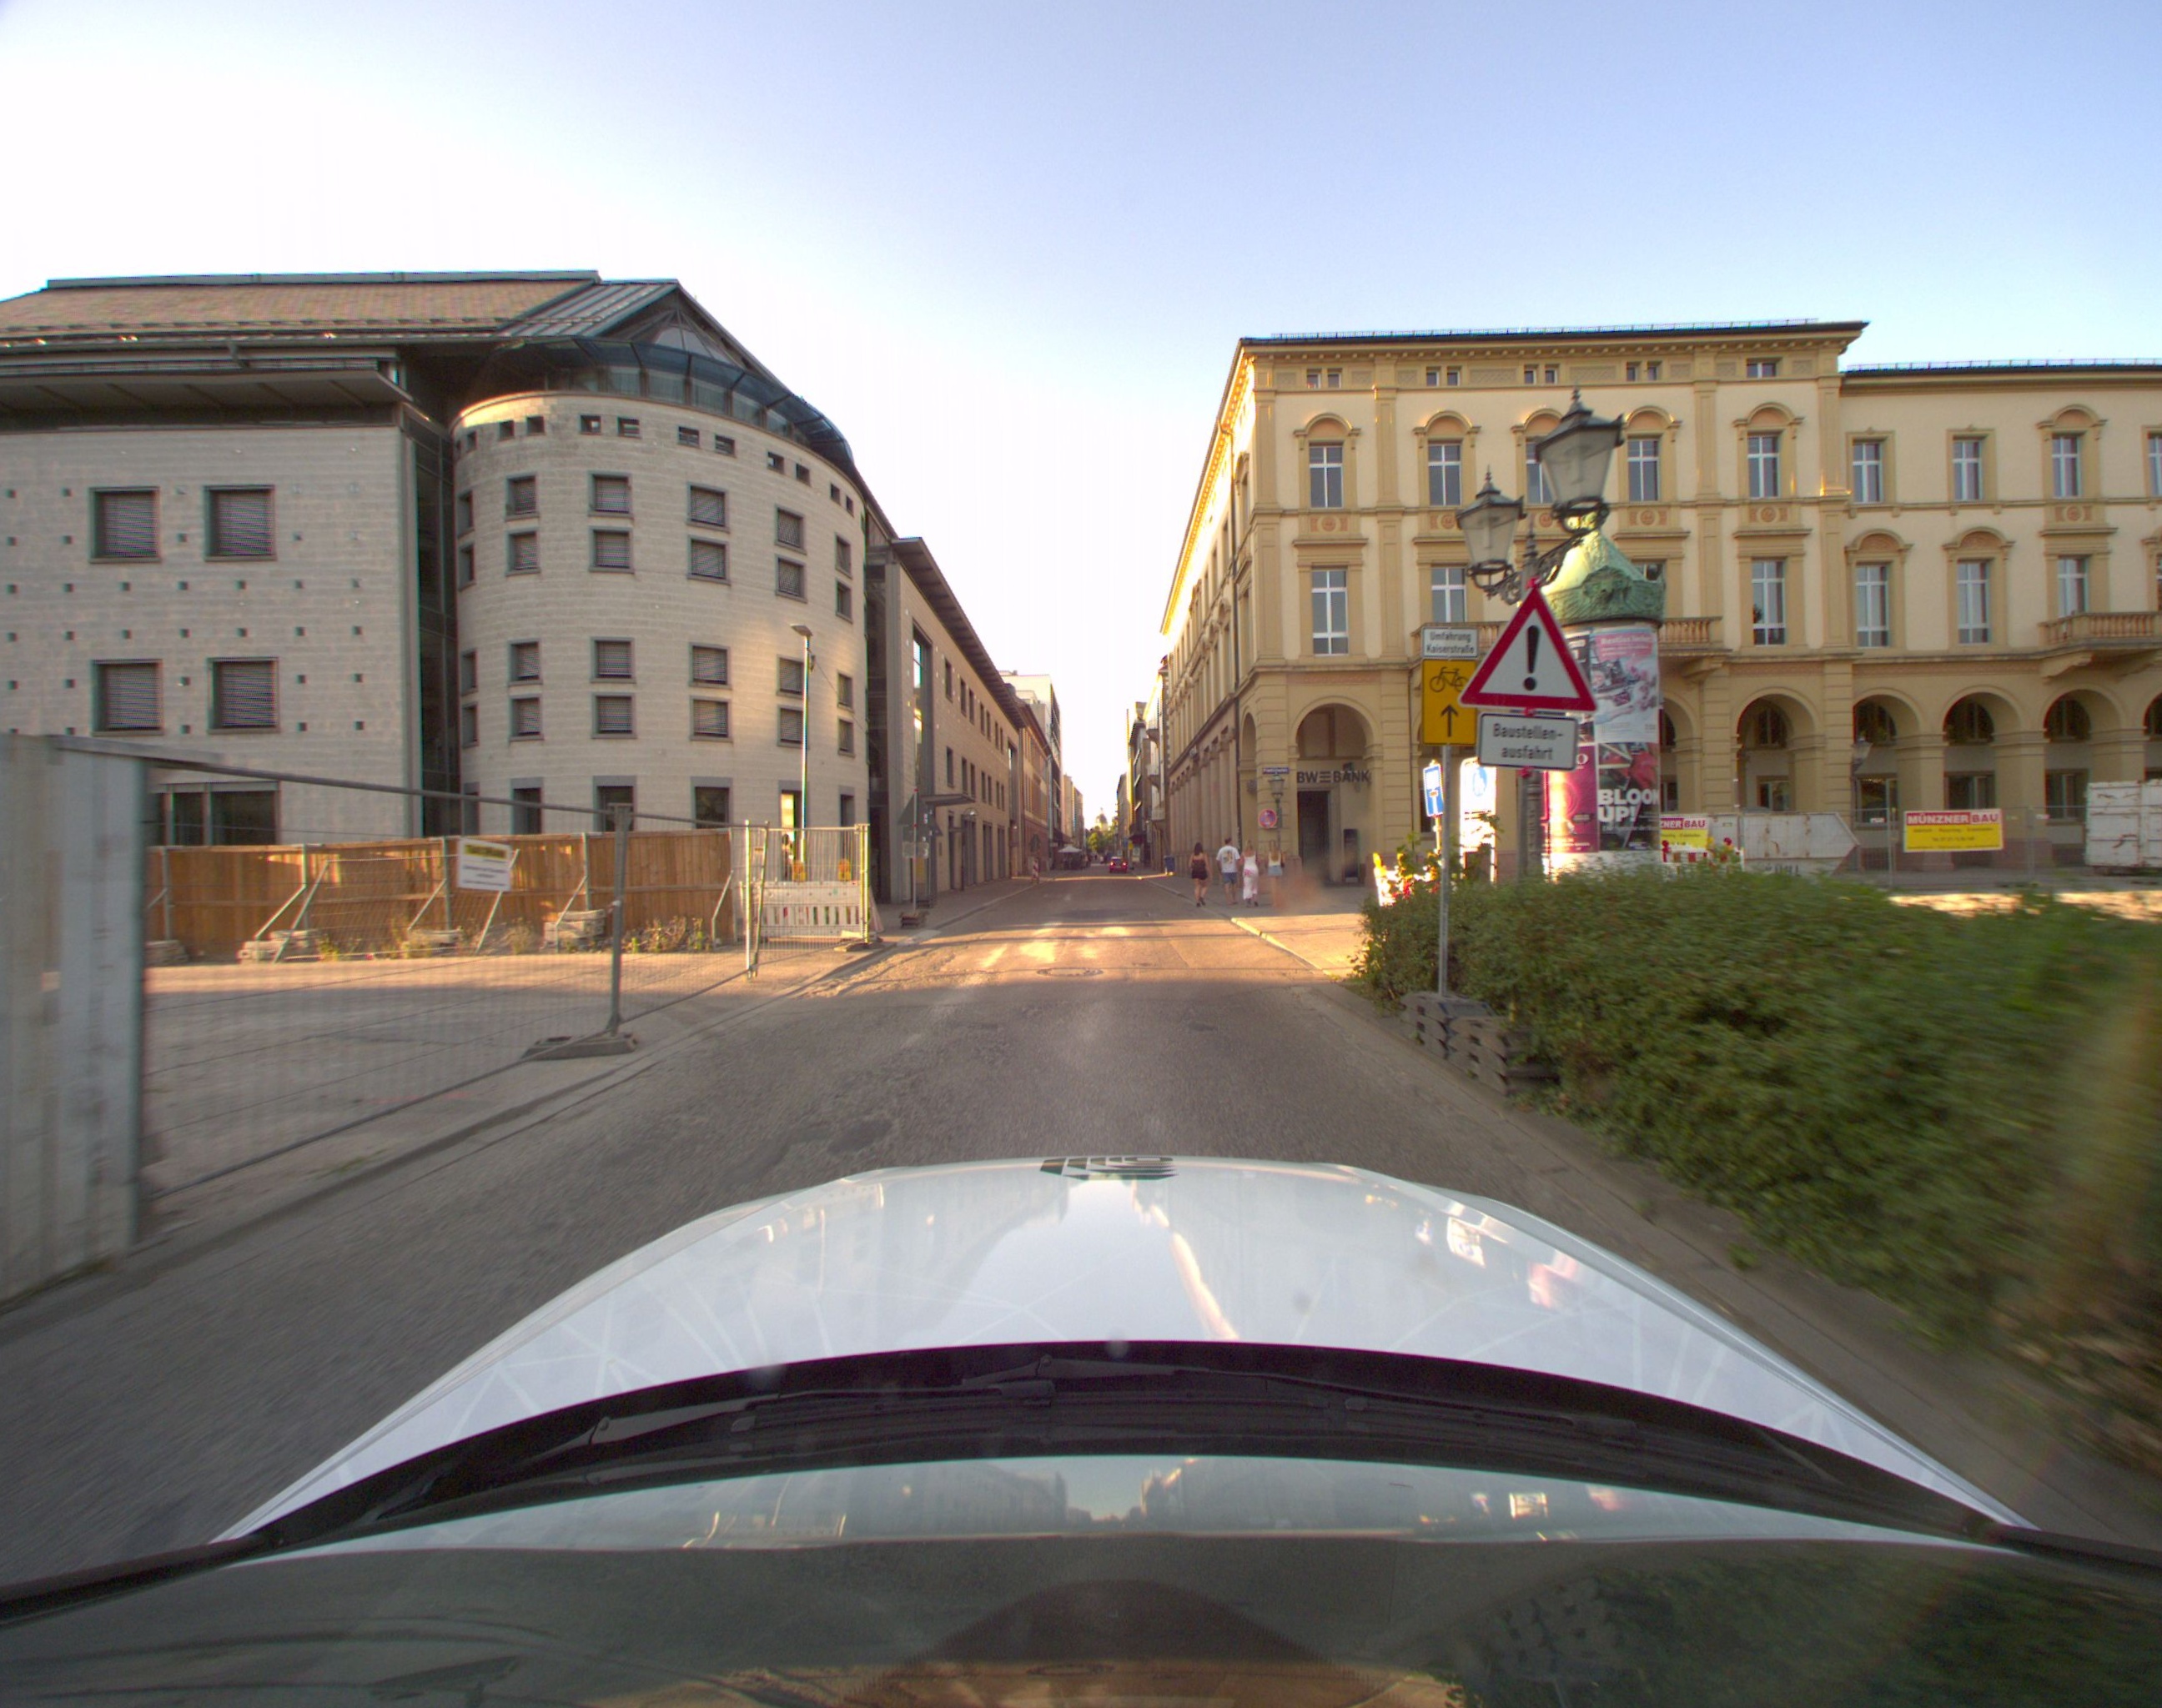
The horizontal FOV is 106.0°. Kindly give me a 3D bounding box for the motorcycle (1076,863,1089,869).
[{"bbox_3d":[0.214,1.726,116.816,1.797,0.875,0.560,-1,-1,-3],"label":"motorcycle"}]

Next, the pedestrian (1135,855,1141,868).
[{"bbox_3d":[6.623,0.870,95.428,0.654,1.488,0.493,-2,-1,3],"label":"pedestrian"}]

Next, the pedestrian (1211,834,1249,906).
[{"bbox_3d":[4.043,0.430,22.125,0.809,1.875,0.875,-2,-1,0],"label":"pedestrian"}]

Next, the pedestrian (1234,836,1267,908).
[{"bbox_3d":[4.329,0.455,20.802,0.634,1.803,0.772,-2,-1,0],"label":"pedestrian"}]

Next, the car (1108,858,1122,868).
[{"bbox_3d":[5.305,1.383,126.215,1.987,1.611,3.999,-1,0,0],"label":"car"}]

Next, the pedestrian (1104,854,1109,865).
[{"bbox_3d":[4.153,0.919,133.272,0.862,1.713,0.852,-1,-1,1],"label":"pedestrian"}]

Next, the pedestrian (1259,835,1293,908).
[{"bbox_3d":[4.980,0.442,20.828,0.634,1.803,0.772,-2,-1,0],"label":"pedestrian"}]

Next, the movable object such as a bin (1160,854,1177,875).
[{"bbox_3d":[5.983,0.716,55.953,0.987,1.392,1.240,-2,0,0],"label":"movable object such as a bin"}]

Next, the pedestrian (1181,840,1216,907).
[{"bbox_3d":[3.138,0.516,21.800,0.773,1.746,0.875,-2,-1,0],"label":"pedestrian"}]

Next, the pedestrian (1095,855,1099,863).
[{"bbox_3d":[3.338,1.113,174.658,0.801,1.672,0.889,-1,-1,3],"label":"pedestrian"}]

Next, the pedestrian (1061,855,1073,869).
[{"bbox_3d":[-1.604,0.900,92.687,1.287,1.488,0.661,-1,-1,-1],"label":"pedestrian"}]

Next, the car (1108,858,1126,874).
[{"bbox_3d":[3.422,1.147,76.902,1.643,1.427,3.537,2,0,2],"label":"car"}]
